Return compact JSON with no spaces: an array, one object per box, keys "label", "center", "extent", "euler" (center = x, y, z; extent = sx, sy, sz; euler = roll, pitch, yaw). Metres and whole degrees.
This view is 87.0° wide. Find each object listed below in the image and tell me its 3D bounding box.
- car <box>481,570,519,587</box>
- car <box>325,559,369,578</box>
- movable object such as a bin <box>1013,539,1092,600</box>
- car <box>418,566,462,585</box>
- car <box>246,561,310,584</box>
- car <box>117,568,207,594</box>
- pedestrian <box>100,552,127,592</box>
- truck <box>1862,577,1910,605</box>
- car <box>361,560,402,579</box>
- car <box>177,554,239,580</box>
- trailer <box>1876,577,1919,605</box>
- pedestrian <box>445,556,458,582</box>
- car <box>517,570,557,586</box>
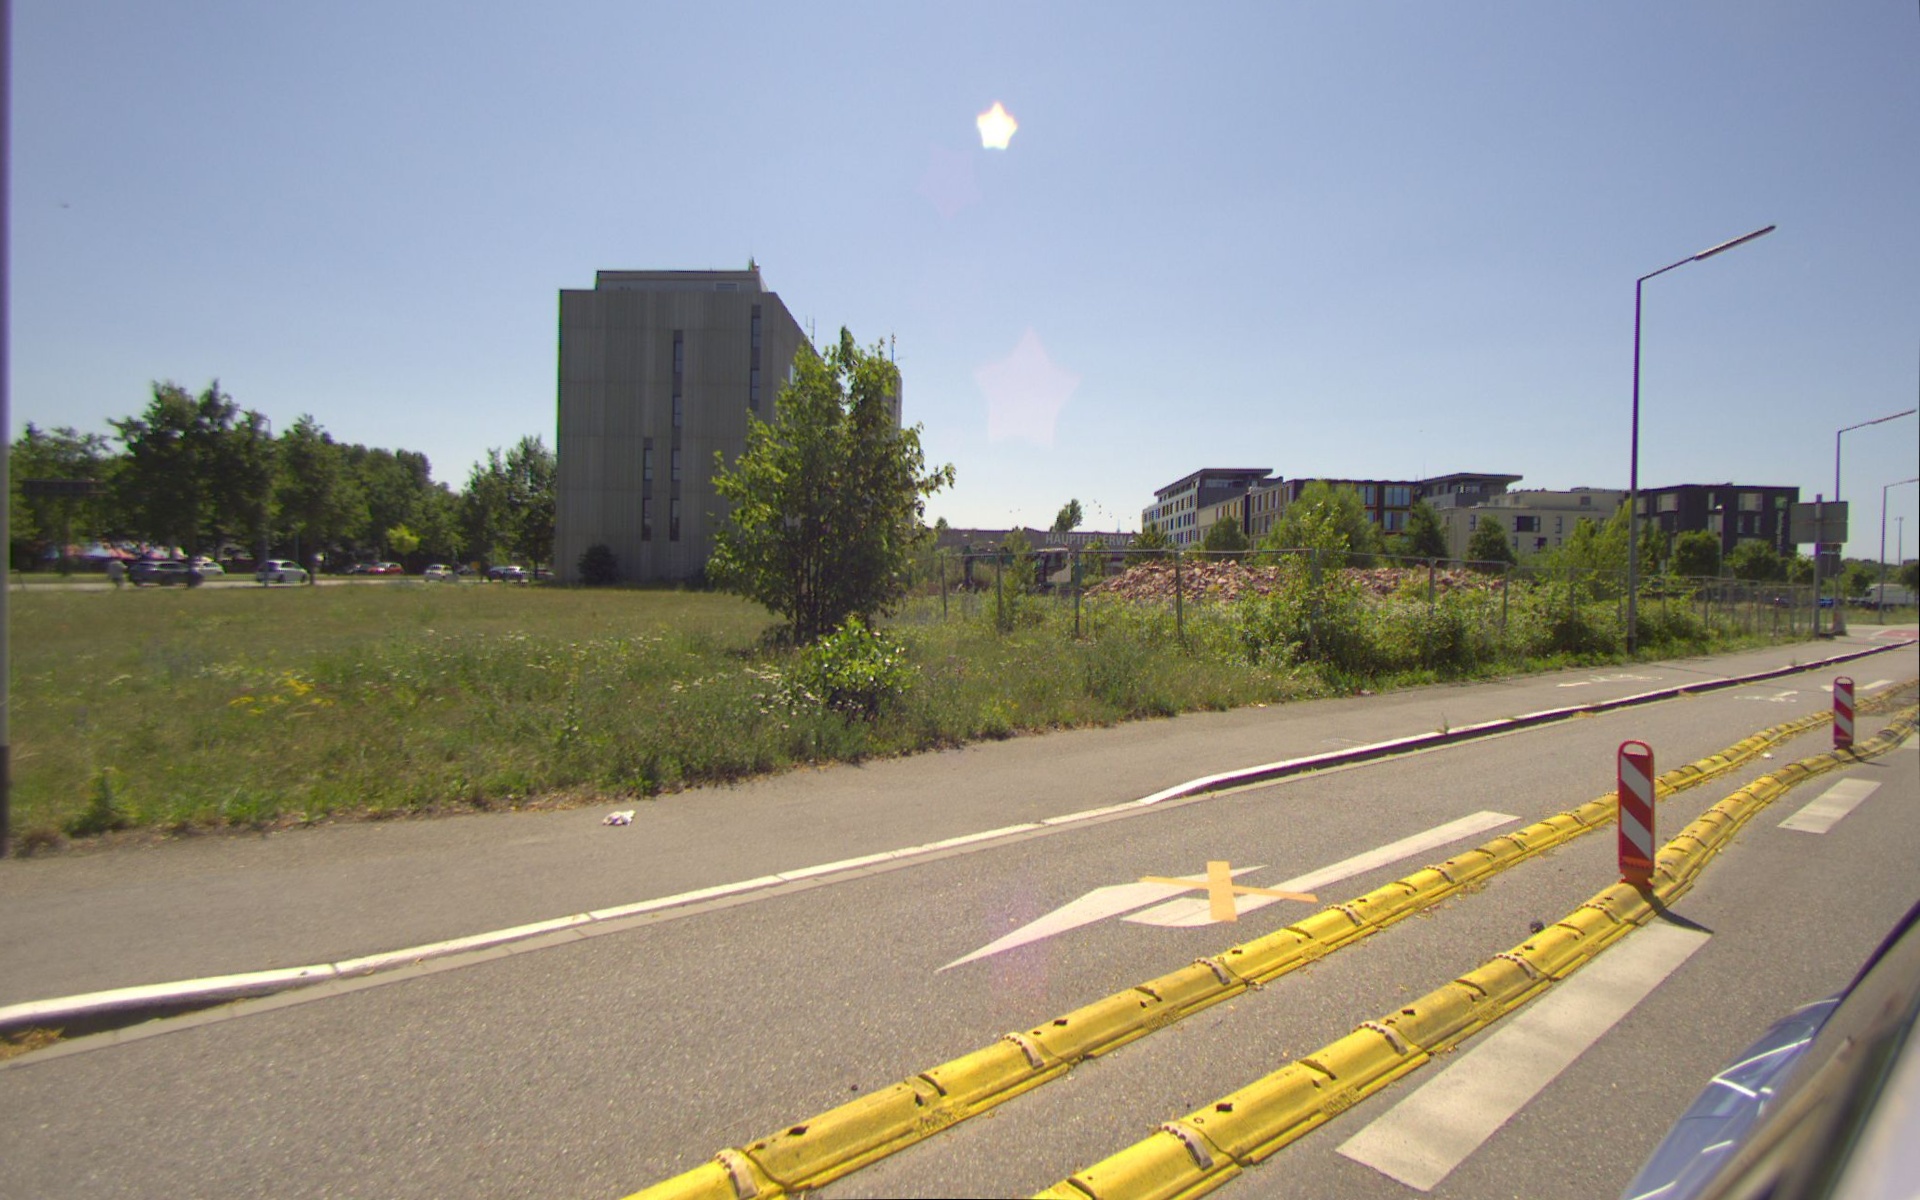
[{"label":"car","center":[-44.955,-2.046,98.918],"extent":[1.707,1.572,4.408],"euler":[0,0,0]},{"label":"car","center":[-61.738,-3.122,102.038],"extent":[1.963,1.838,3.998],"euler":[0,1,2]},{"label":"movable object such as a bin","center":[4.943,-1.586,53.970],"extent":[3.619,3.101,2.207],"euler":[0,1,-35]},{"label":"car","center":[-45.014,-2.135,87.709],"extent":[1.708,1.571,3.999],"euler":[0,1,1]},{"label":"car","center":[-47.685,-1.916,70.859],"extent":[1.708,1.571,3.999],"euler":[0,1,1]},{"label":"car","center":[-46.411,-1.103,58.957],"extent":[1.866,1.408,4.205],"euler":[0,1,2]},{"label":"pedestrian","center":[-34.051,-1.109,40.721],"extent":[0.489,1.583,0.737],"euler":[0,0,-1]},{"label":"truck","center":[115.875,-1.165,126.716],"extent":[3.928,3.377,1.998],"euler":[2,1,4]},{"label":"car","center":[-58.092,-3.088,101.734],"extent":[1.770,1.838,3.998],"euler":[0,1,2]},{"label":"car","center":[-60.658,-2.656,81.716],"extent":[1.963,2.039,3.998],"euler":[0,1,2]},{"label":"trailer","center":[119.670,-1.035,126.419],"extent":[8.030,3.390,1.998],"euler":[2,1,4]},{"label":"pedestrian","center":[-34.089,-2.076,67.875],"extent":[0.489,1.712,0.737],"euler":[0,0,-1]},{"label":"car","center":[-42.237,-2.199,101.071],"extent":[1.965,1.523,4.069],"euler":[1,1,6]}]
